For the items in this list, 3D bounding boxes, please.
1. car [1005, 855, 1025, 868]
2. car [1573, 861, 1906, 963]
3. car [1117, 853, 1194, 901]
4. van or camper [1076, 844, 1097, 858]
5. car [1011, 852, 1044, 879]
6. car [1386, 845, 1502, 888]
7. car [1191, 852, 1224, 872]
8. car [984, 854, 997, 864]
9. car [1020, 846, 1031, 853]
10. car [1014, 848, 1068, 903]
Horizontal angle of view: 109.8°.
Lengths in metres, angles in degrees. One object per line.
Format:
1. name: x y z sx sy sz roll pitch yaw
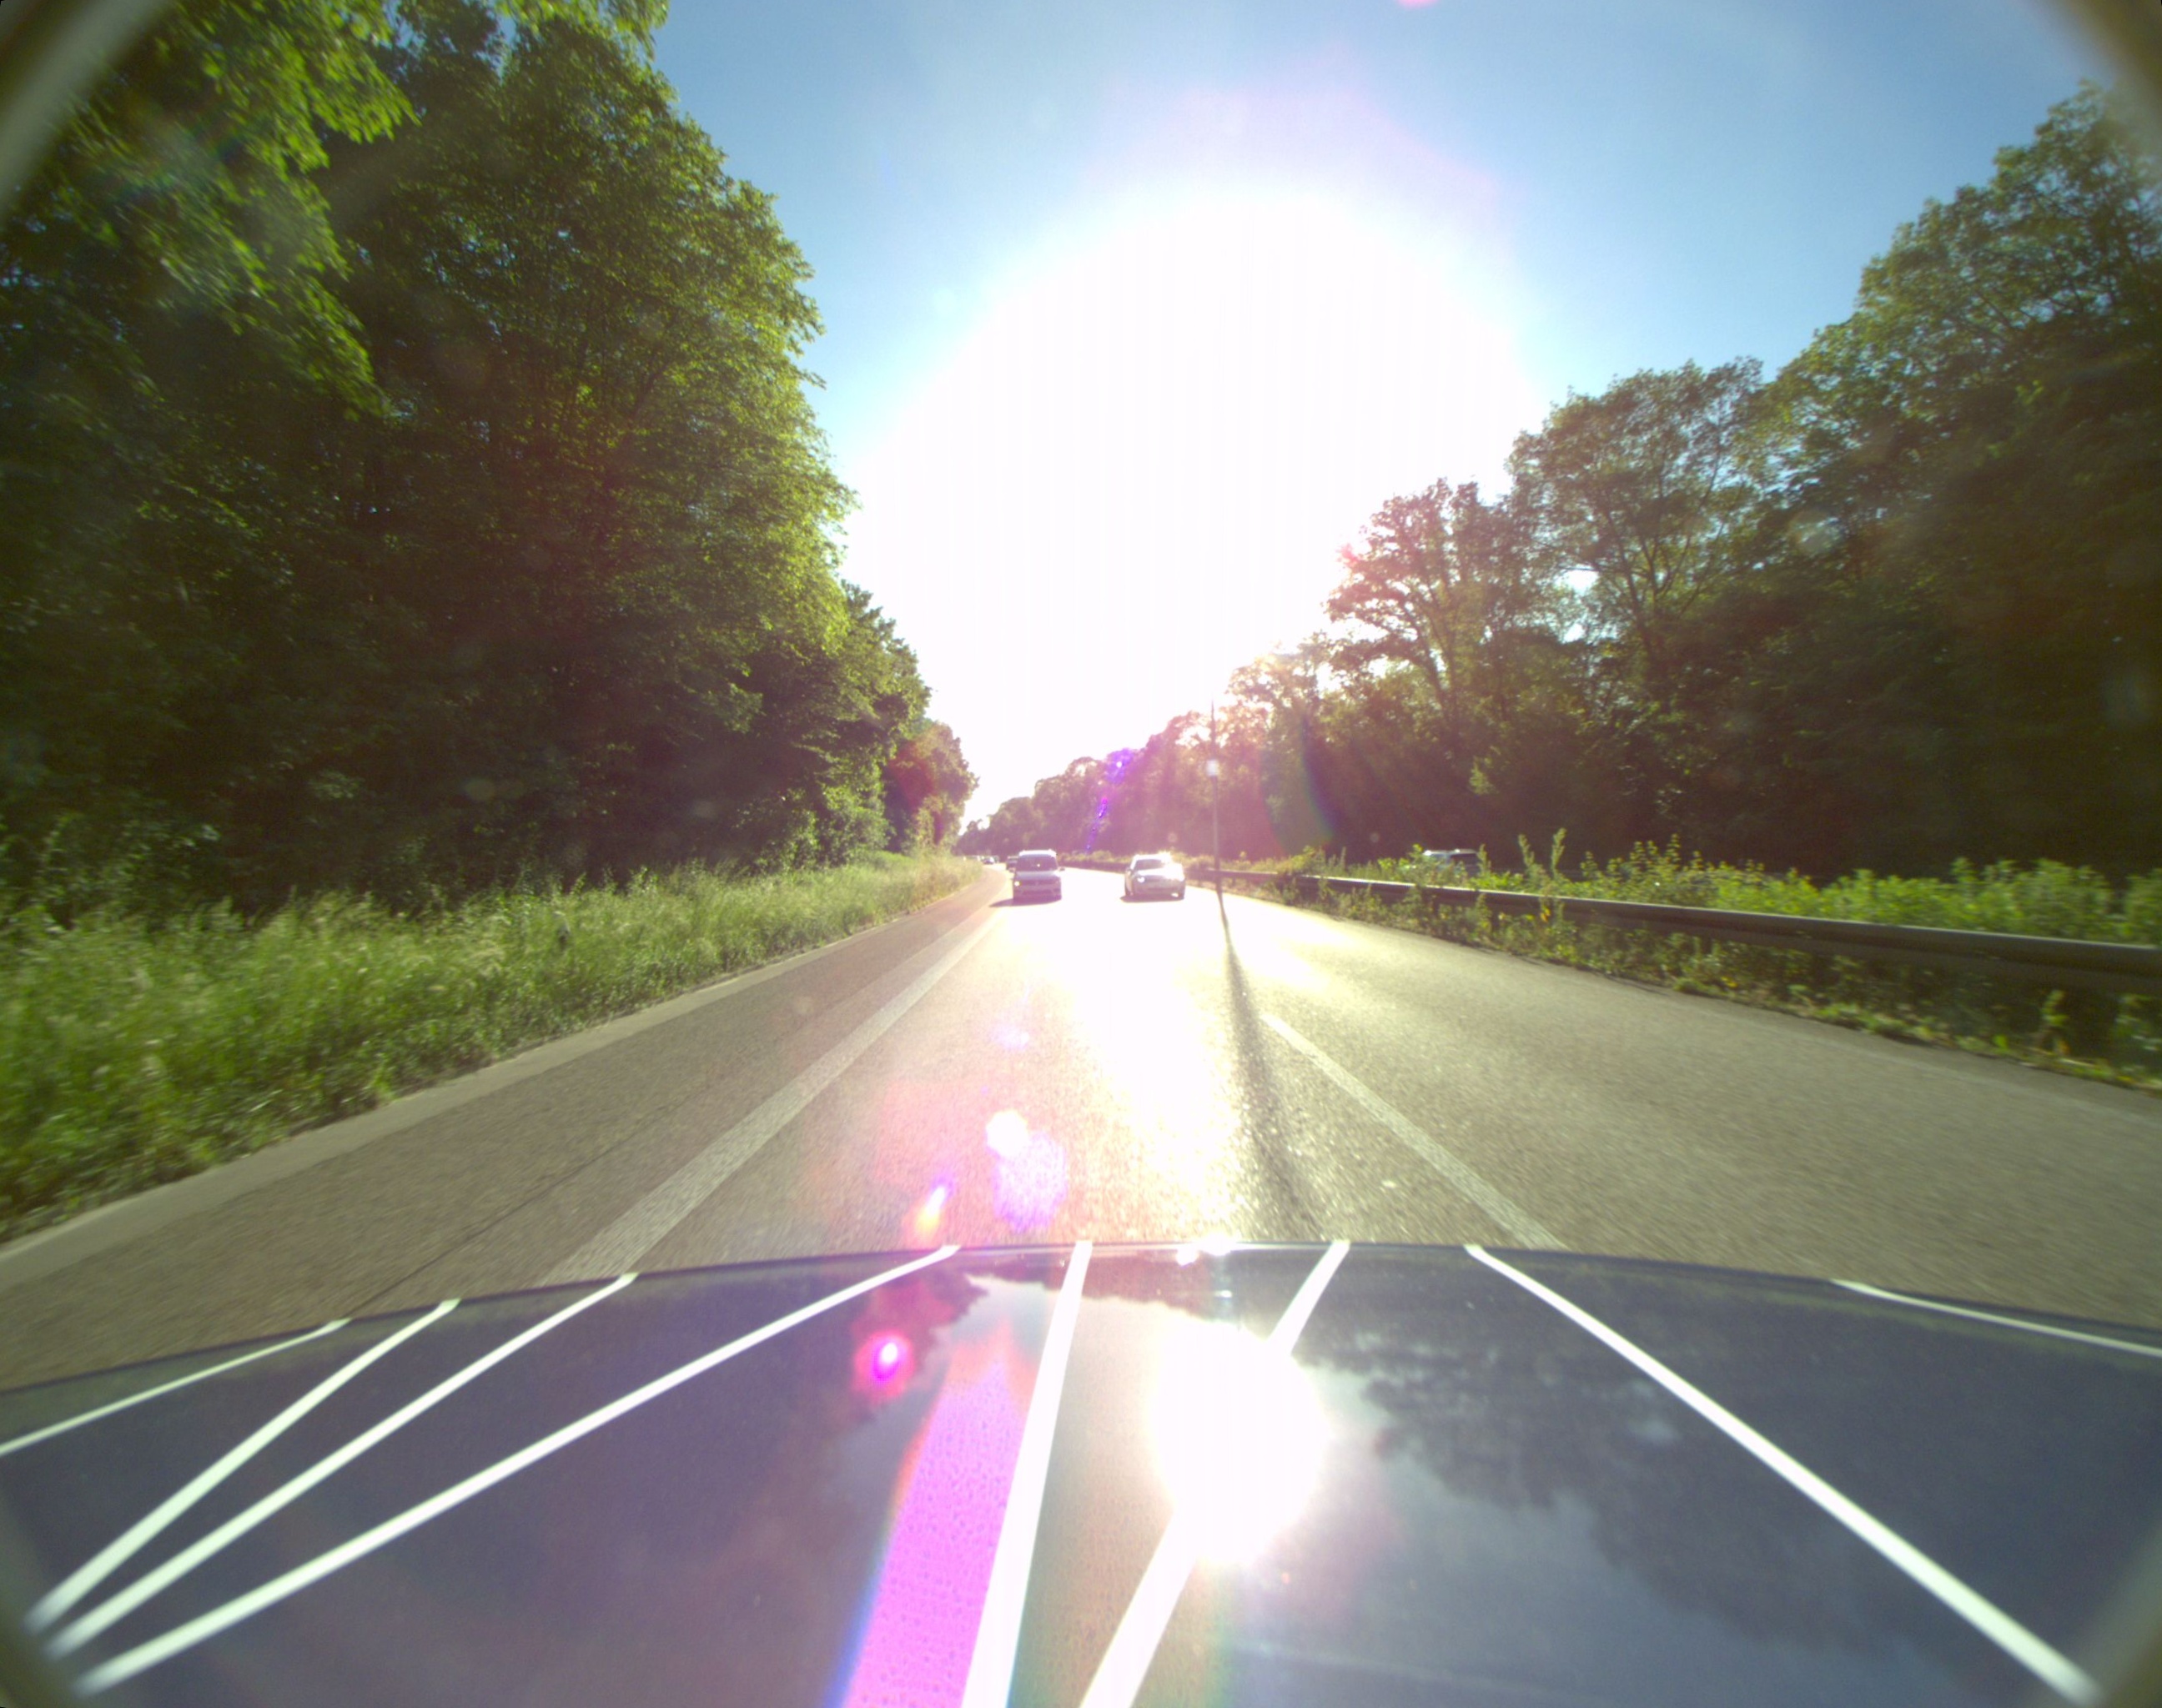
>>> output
1. car: -8.009 0.859 91.563 1.936 1.499 5.082 0 0 -10
2. car: 12.425 0.973 14.987 1.999 1.477 5.238 -2 1 0
3. car: 2.580 0.762 27.748 1.935 1.499 5.597 -2 0 -3
4. van or camper: 0.817 -0.484 114.353 2.151 2.002 5.574 -1 0 -11
5. car: -4.210 0.830 58.860 2.258 1.843 5.137 -2 2 -7
6. car: 14.481 0.431 30.719 1.999 1.477 5.237 -2 1 -2
7. car: 12.093 0.720 72.984 2.000 1.775 4.292 -2 1 -6
8. car: -17.185 0.996 144.050 1.936 1.500 5.079 -3 3 -10
9. car: -12.970 -0.968 177.437 1.887 1.505 4.351 -2 1 -13
10. car: -1.520 0.727 28.726 1.800 1.796 4.830 -2 1 -4
